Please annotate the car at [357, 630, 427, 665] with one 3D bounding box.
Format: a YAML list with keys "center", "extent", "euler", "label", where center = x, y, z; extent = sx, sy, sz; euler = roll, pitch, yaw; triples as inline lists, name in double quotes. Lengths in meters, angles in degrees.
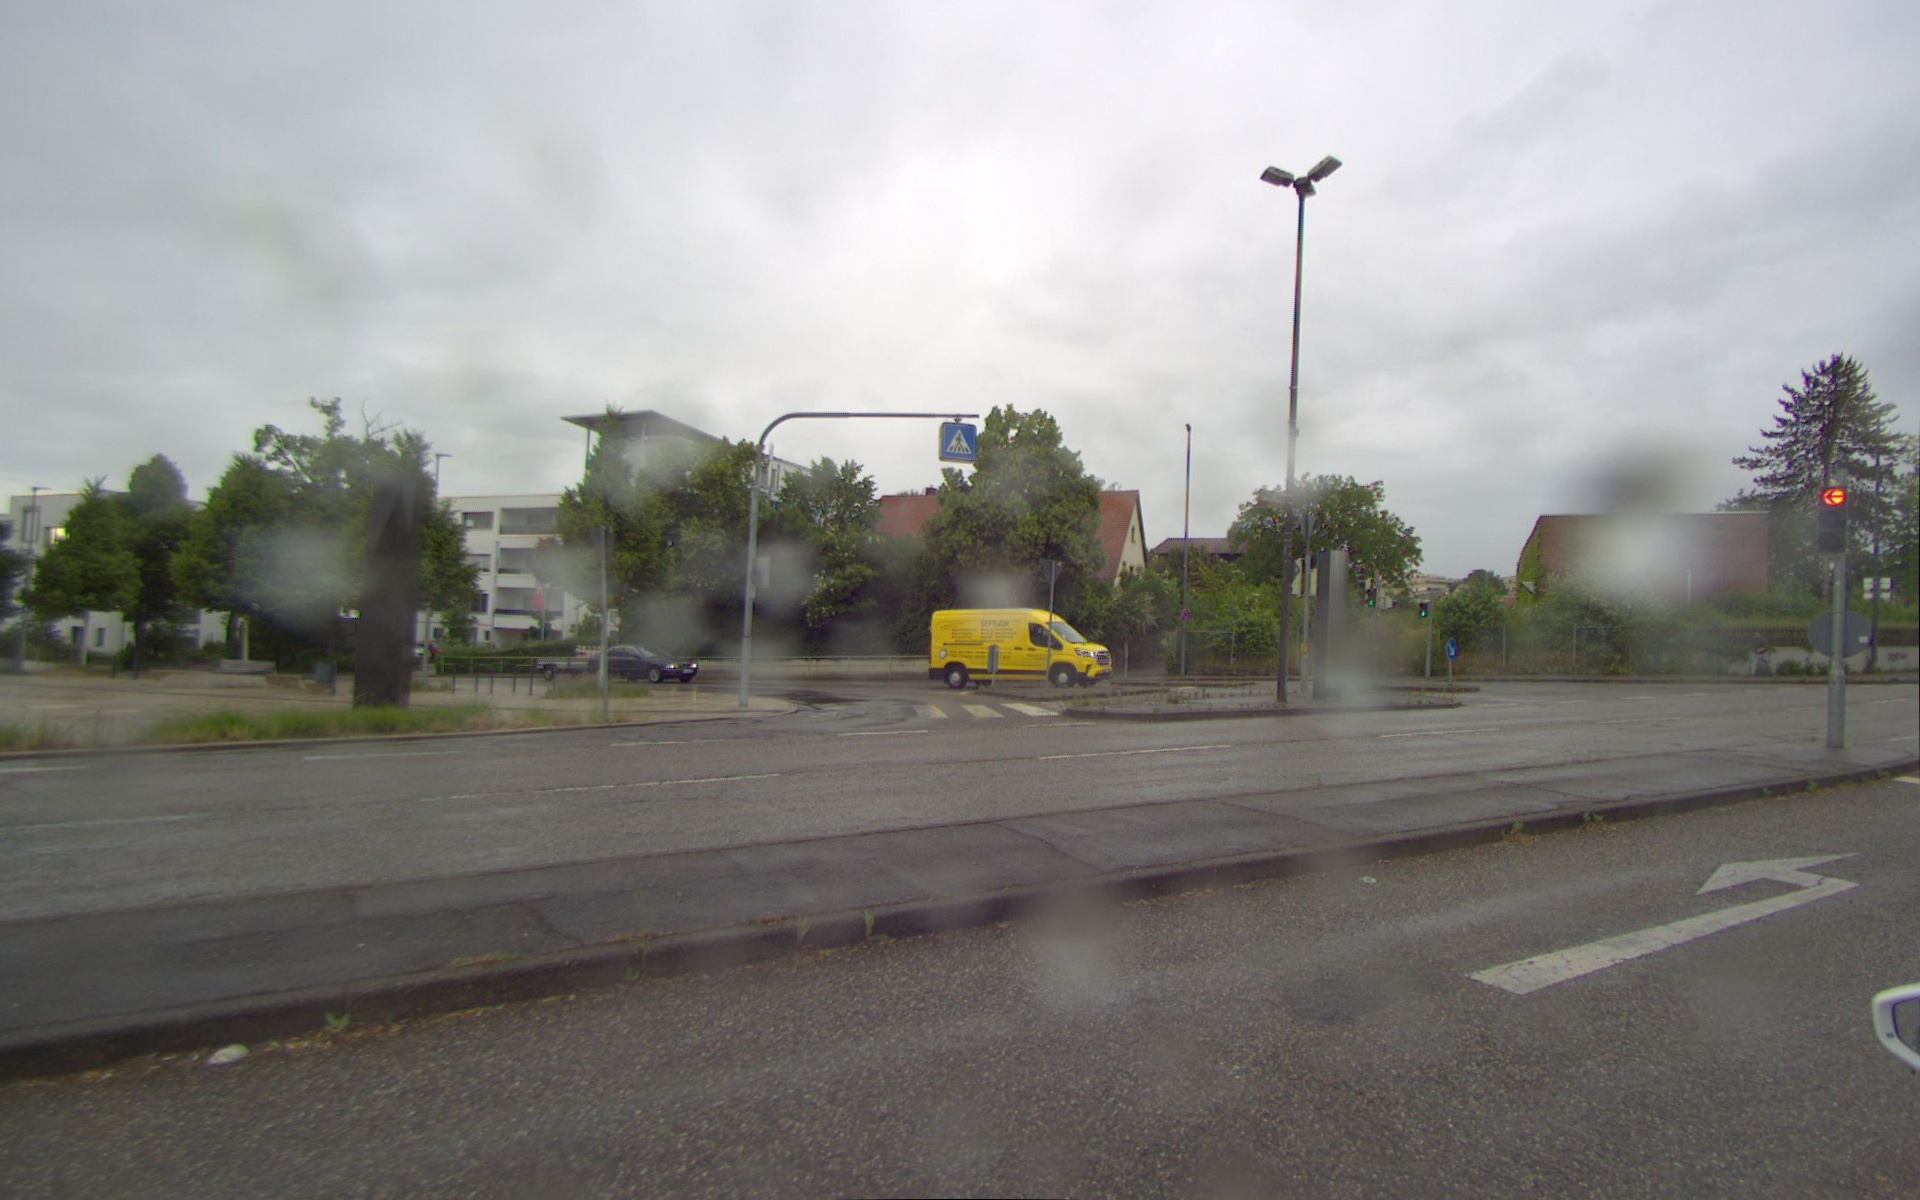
- center: [-37.321, 3.097, 66.019]
  extent: [3.921, 2.040, 1.791]
  euler: [2, 0, 20]
  label: "car"

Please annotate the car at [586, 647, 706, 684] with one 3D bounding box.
- center: [-11.987, 2.478, 38.329]
  extent: [4.275, 1.334, 1.863]
  euler: [-1, -4, 27]
  label: "car"

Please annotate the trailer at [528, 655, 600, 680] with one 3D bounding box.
- center: [-15.962, 2.720, 40.514]
  extent: [2.244, 0.991, 1.607]
  euler: [-1, -4, 27]
  label: "trailer"

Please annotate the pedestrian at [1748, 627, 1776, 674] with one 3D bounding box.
- center: [28.669, 1.820, 35.915]
  extent: [0.490, 1.663, 0.553]
  euler: [0, -3, 0]
  label: "pedestrian"

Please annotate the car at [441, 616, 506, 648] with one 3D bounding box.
- center: [-33.988, 2.239, 70.126]
  extent: [3.921, 2.040, 1.791]
  euler: [2, 0, 20]
  label: "car"

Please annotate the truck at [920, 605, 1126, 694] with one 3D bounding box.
- center: [1.937, 1.552, 31.472]
  extent: [6.062, 2.571, 2.226]
  euler: [-1, -4, 27]
  label: "truck"

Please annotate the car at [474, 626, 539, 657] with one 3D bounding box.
- center: [-32.631, 2.968, 72.285]
  extent: [3.921, 2.040, 2.000]
  euler: [2, 0, 20]
  label: "car"
